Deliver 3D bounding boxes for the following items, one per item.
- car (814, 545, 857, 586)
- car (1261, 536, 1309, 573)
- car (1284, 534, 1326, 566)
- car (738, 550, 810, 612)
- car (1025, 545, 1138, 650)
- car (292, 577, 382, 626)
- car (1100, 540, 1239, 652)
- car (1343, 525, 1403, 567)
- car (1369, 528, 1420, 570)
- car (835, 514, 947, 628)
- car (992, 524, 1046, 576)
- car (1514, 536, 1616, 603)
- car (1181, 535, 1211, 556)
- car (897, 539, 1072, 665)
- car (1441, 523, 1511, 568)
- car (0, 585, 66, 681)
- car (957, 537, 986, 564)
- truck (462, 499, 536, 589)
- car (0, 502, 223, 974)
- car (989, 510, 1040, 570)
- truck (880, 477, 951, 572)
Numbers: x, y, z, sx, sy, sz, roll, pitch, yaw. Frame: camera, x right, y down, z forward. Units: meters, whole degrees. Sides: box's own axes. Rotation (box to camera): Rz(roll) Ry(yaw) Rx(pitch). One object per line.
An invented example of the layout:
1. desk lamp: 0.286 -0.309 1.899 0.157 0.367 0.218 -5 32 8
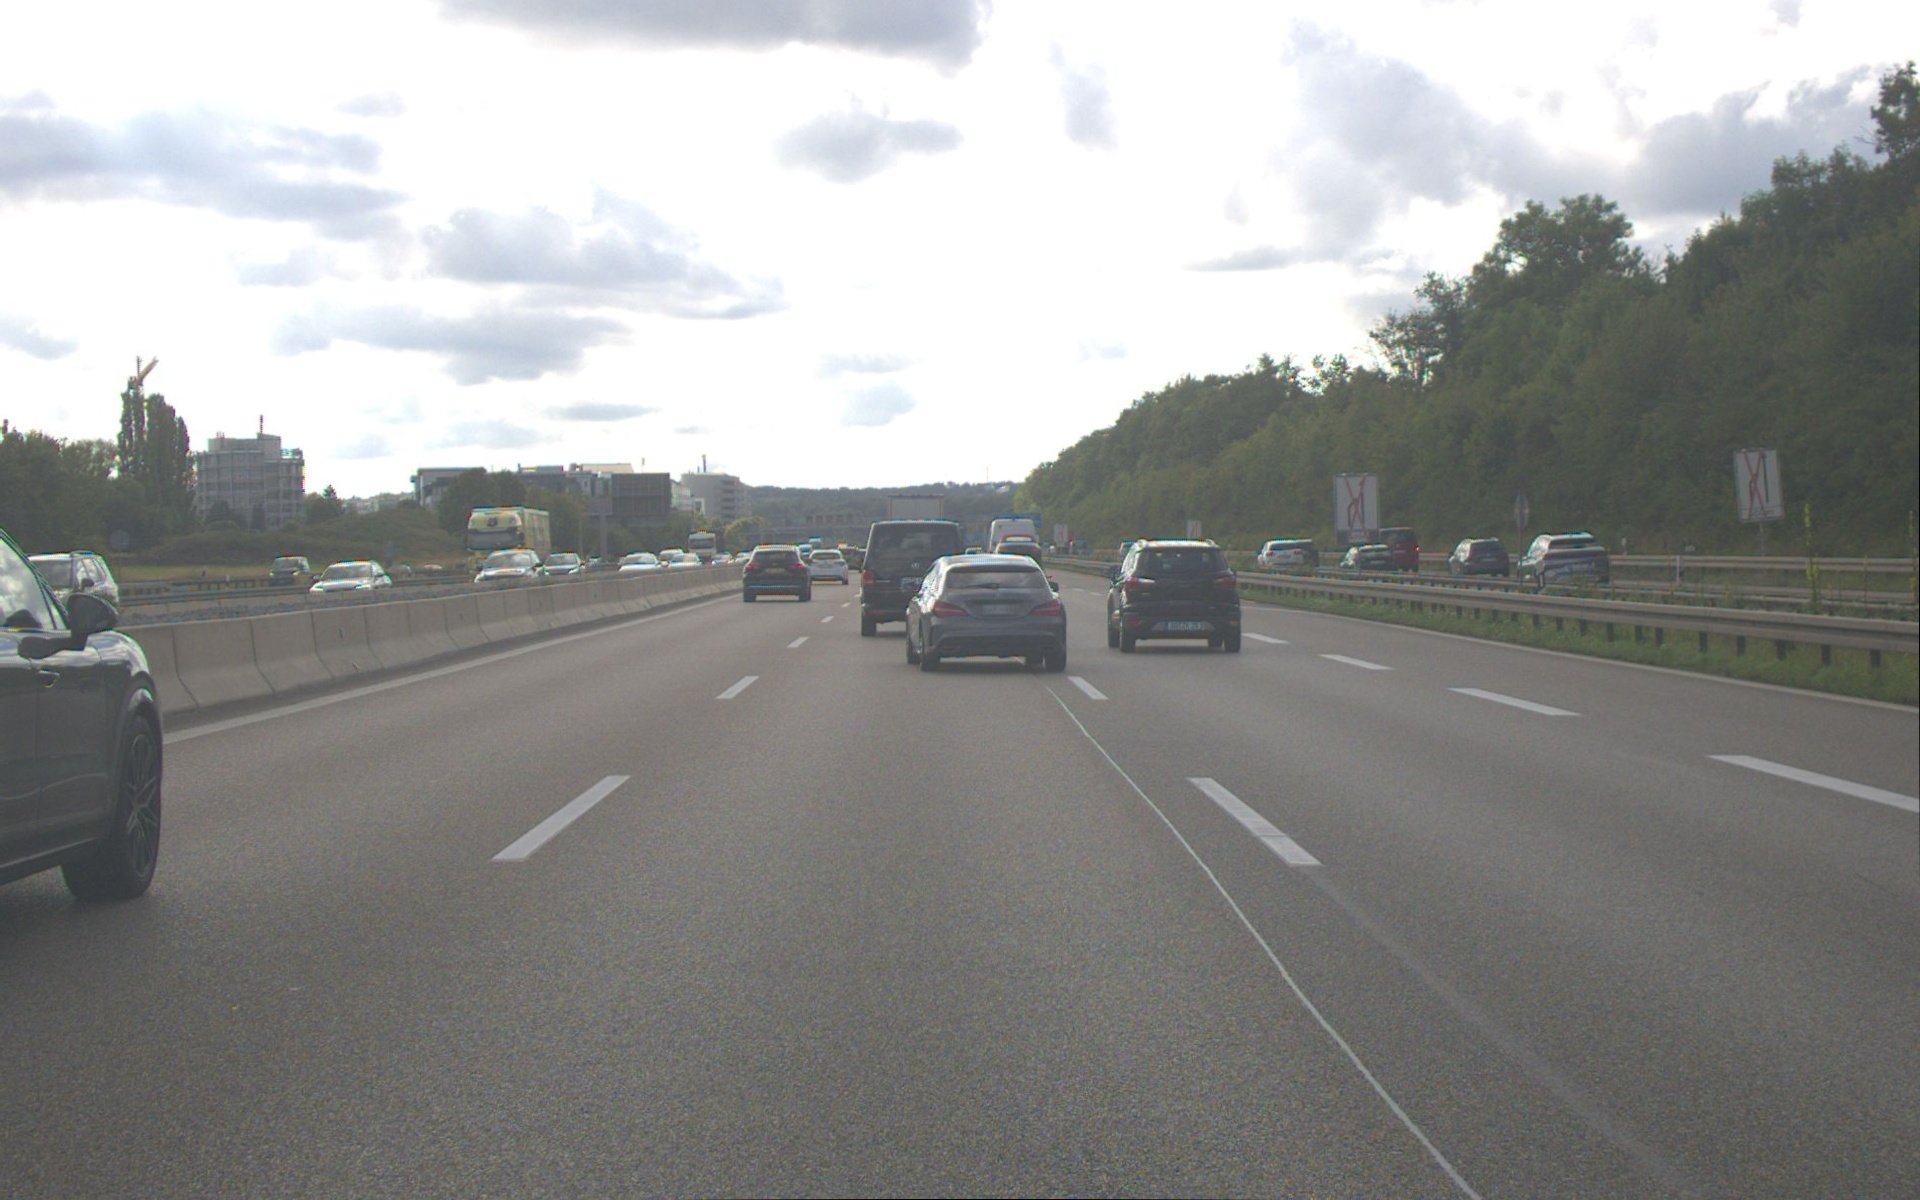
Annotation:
1. car: -5.050 -1.415 139.846 1.697 1.605 4.114 -1 1 -1
2. car: 15.052 -2.106 159.368 1.752 1.689 4.190 -1 1 -1
3. car: 18.509 -2.702 184.488 1.752 1.689 4.190 -1 1 -1
4. car: -5.253 -0.551 97.719 1.873 1.692 4.072 -1 1 -1
5. car: 2.064 -0.076 59.477 1.720 1.718 4.392 0 1 -1
6. car: -17.558 0.024 97.114 1.771 1.290 4.676 0 1 -1
7. car: 3.064 -0.095 50.923 1.697 1.559 4.114 -1 1 -1
8. car: 15.383 -2.016 128.196 1.595 1.540 4.191 -1 1 -2
9. car: 18.953 -2.218 150.012 1.595 1.797 3.825 -1 1 -2
10. car: -1.190 -0.532 59.737 1.855 1.904 4.260 0 1 -1
11. car: 2.233 -1.918 130.802 1.913 1.912 4.031 0 1 -1
12. car: 16.137 -0.825 91.901 1.846 1.644 4.306 -3 1 -1
13. car: 17.272 -3.985 251.479 1.752 1.511 4.191 -1 1 -2
14. car: 0.251 -0.018 42.863 1.720 1.474 4.392 -1 1 -6
15. car: 18.986 -2.028 126.657 1.728 1.540 4.306 -3 1 -2
16. car: -17.140 0.564 60.261 1.774 1.555 4.782 -1 1 -1
17. car: 0.735 -3.145 218.445 1.752 1.689 4.190 -1 1 -1
18. truck: -22.727 -2.752 169.589 2.896 4.308 5.162 -1 1 -1
19. car: -4.300 0.462 13.006 1.912 1.630 5.501 0 1 -1
20. car: 2.180 -2.406 137.844 1.873 2.349 4.282 0 1 -1
21. truck: -2.130 -3.571 163.355 3.263 4.360 11.027 0 1 -1
